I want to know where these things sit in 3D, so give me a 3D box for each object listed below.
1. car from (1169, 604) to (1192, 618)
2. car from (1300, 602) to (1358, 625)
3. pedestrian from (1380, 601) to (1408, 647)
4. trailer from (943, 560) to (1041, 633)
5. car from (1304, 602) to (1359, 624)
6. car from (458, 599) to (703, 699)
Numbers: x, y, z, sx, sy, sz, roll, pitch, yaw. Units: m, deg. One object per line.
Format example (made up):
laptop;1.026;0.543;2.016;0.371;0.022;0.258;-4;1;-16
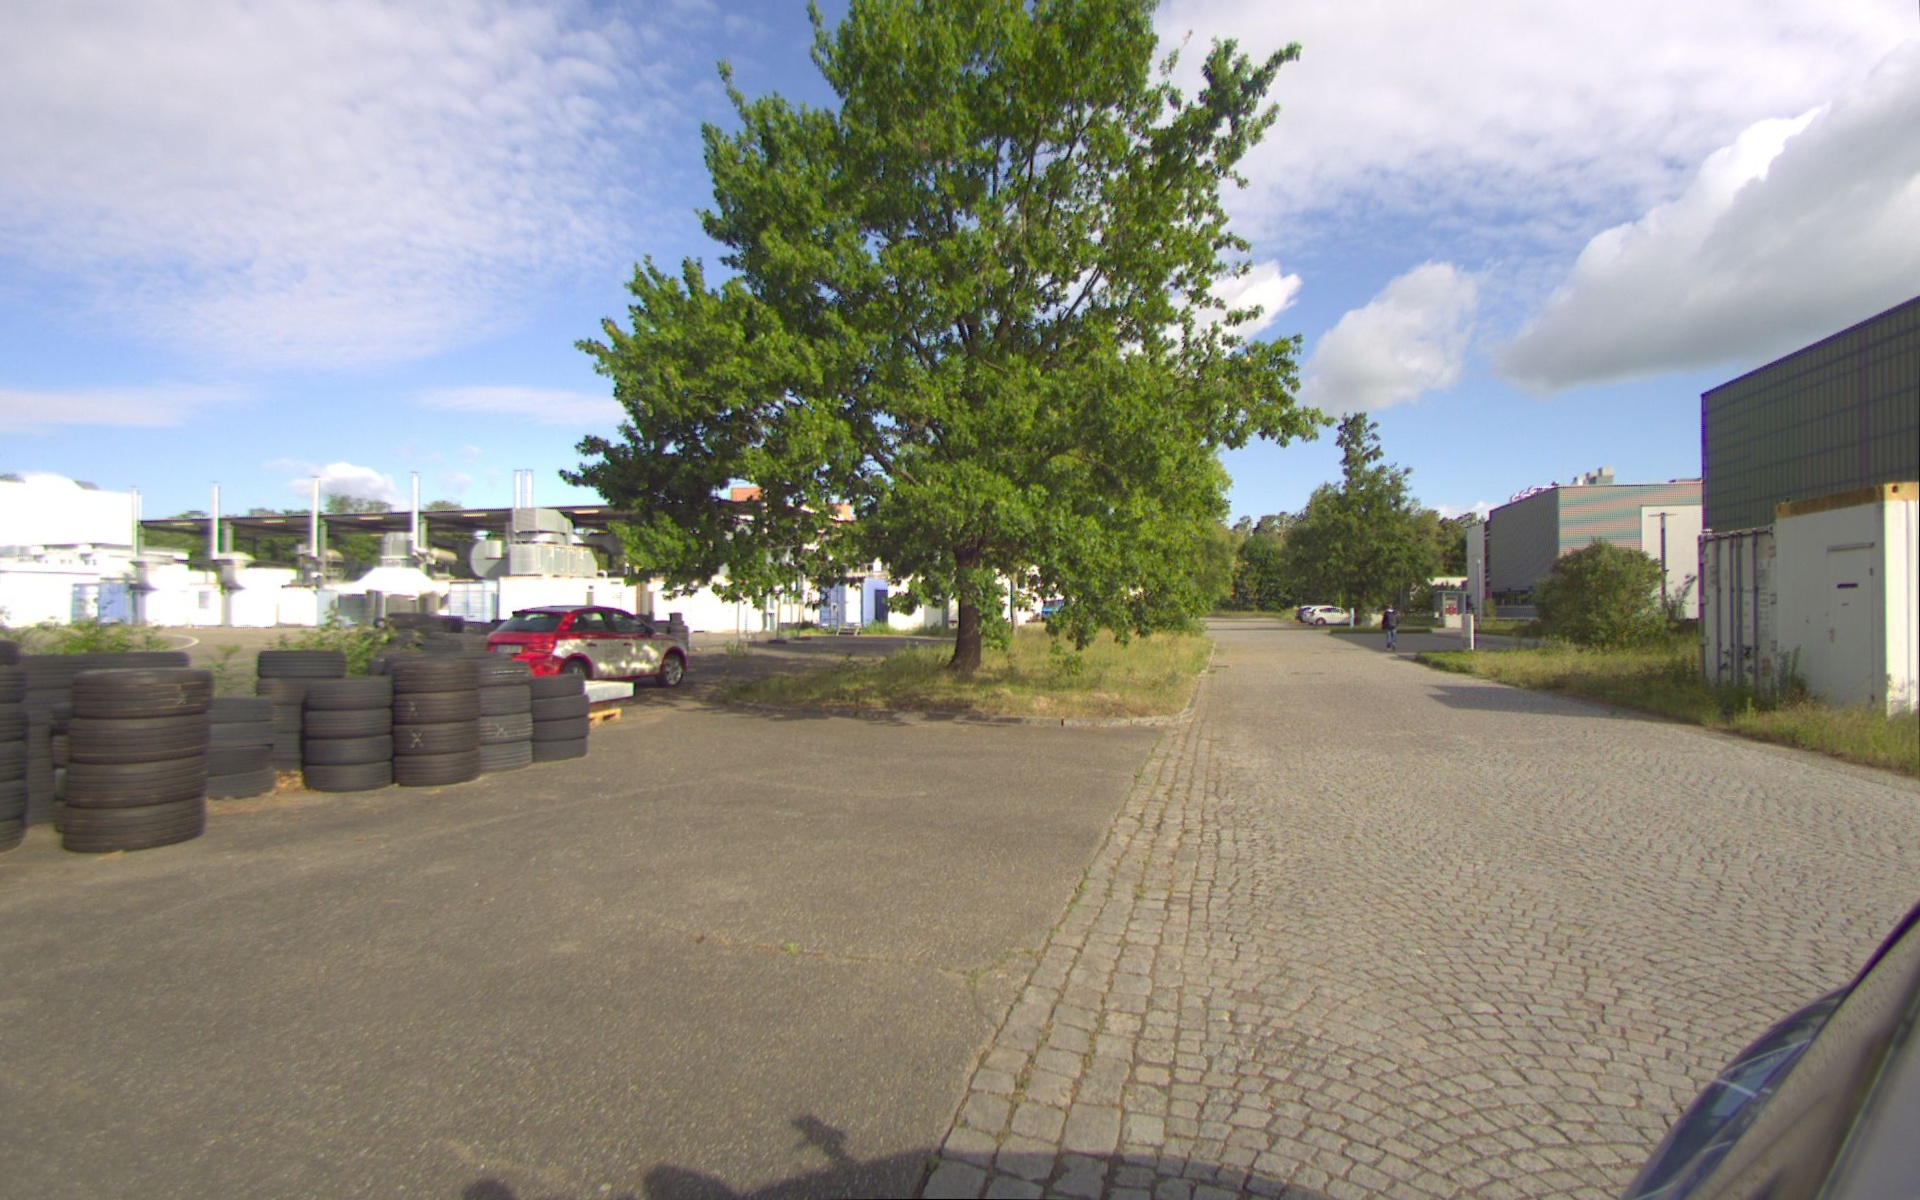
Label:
car;22.226;1.094;102.019;1.967;1.388;3.990;0;0;9
car;27.514;0.995;75.516;3.951;1.664;1.986;0;0;21
pedestrian;15.243;0.820;35.551;0.859;1.579;1.019;-1;-1;26
trailer;1.926;-0.148;54.239;2.886;3.515;9.847;0;0;17
car;28.597;0.985;78.016;3.951;1.664;1.986;0;0;21
car;-6.253;0.744;17.166;1.707;1.483;3.971;0;0;21
